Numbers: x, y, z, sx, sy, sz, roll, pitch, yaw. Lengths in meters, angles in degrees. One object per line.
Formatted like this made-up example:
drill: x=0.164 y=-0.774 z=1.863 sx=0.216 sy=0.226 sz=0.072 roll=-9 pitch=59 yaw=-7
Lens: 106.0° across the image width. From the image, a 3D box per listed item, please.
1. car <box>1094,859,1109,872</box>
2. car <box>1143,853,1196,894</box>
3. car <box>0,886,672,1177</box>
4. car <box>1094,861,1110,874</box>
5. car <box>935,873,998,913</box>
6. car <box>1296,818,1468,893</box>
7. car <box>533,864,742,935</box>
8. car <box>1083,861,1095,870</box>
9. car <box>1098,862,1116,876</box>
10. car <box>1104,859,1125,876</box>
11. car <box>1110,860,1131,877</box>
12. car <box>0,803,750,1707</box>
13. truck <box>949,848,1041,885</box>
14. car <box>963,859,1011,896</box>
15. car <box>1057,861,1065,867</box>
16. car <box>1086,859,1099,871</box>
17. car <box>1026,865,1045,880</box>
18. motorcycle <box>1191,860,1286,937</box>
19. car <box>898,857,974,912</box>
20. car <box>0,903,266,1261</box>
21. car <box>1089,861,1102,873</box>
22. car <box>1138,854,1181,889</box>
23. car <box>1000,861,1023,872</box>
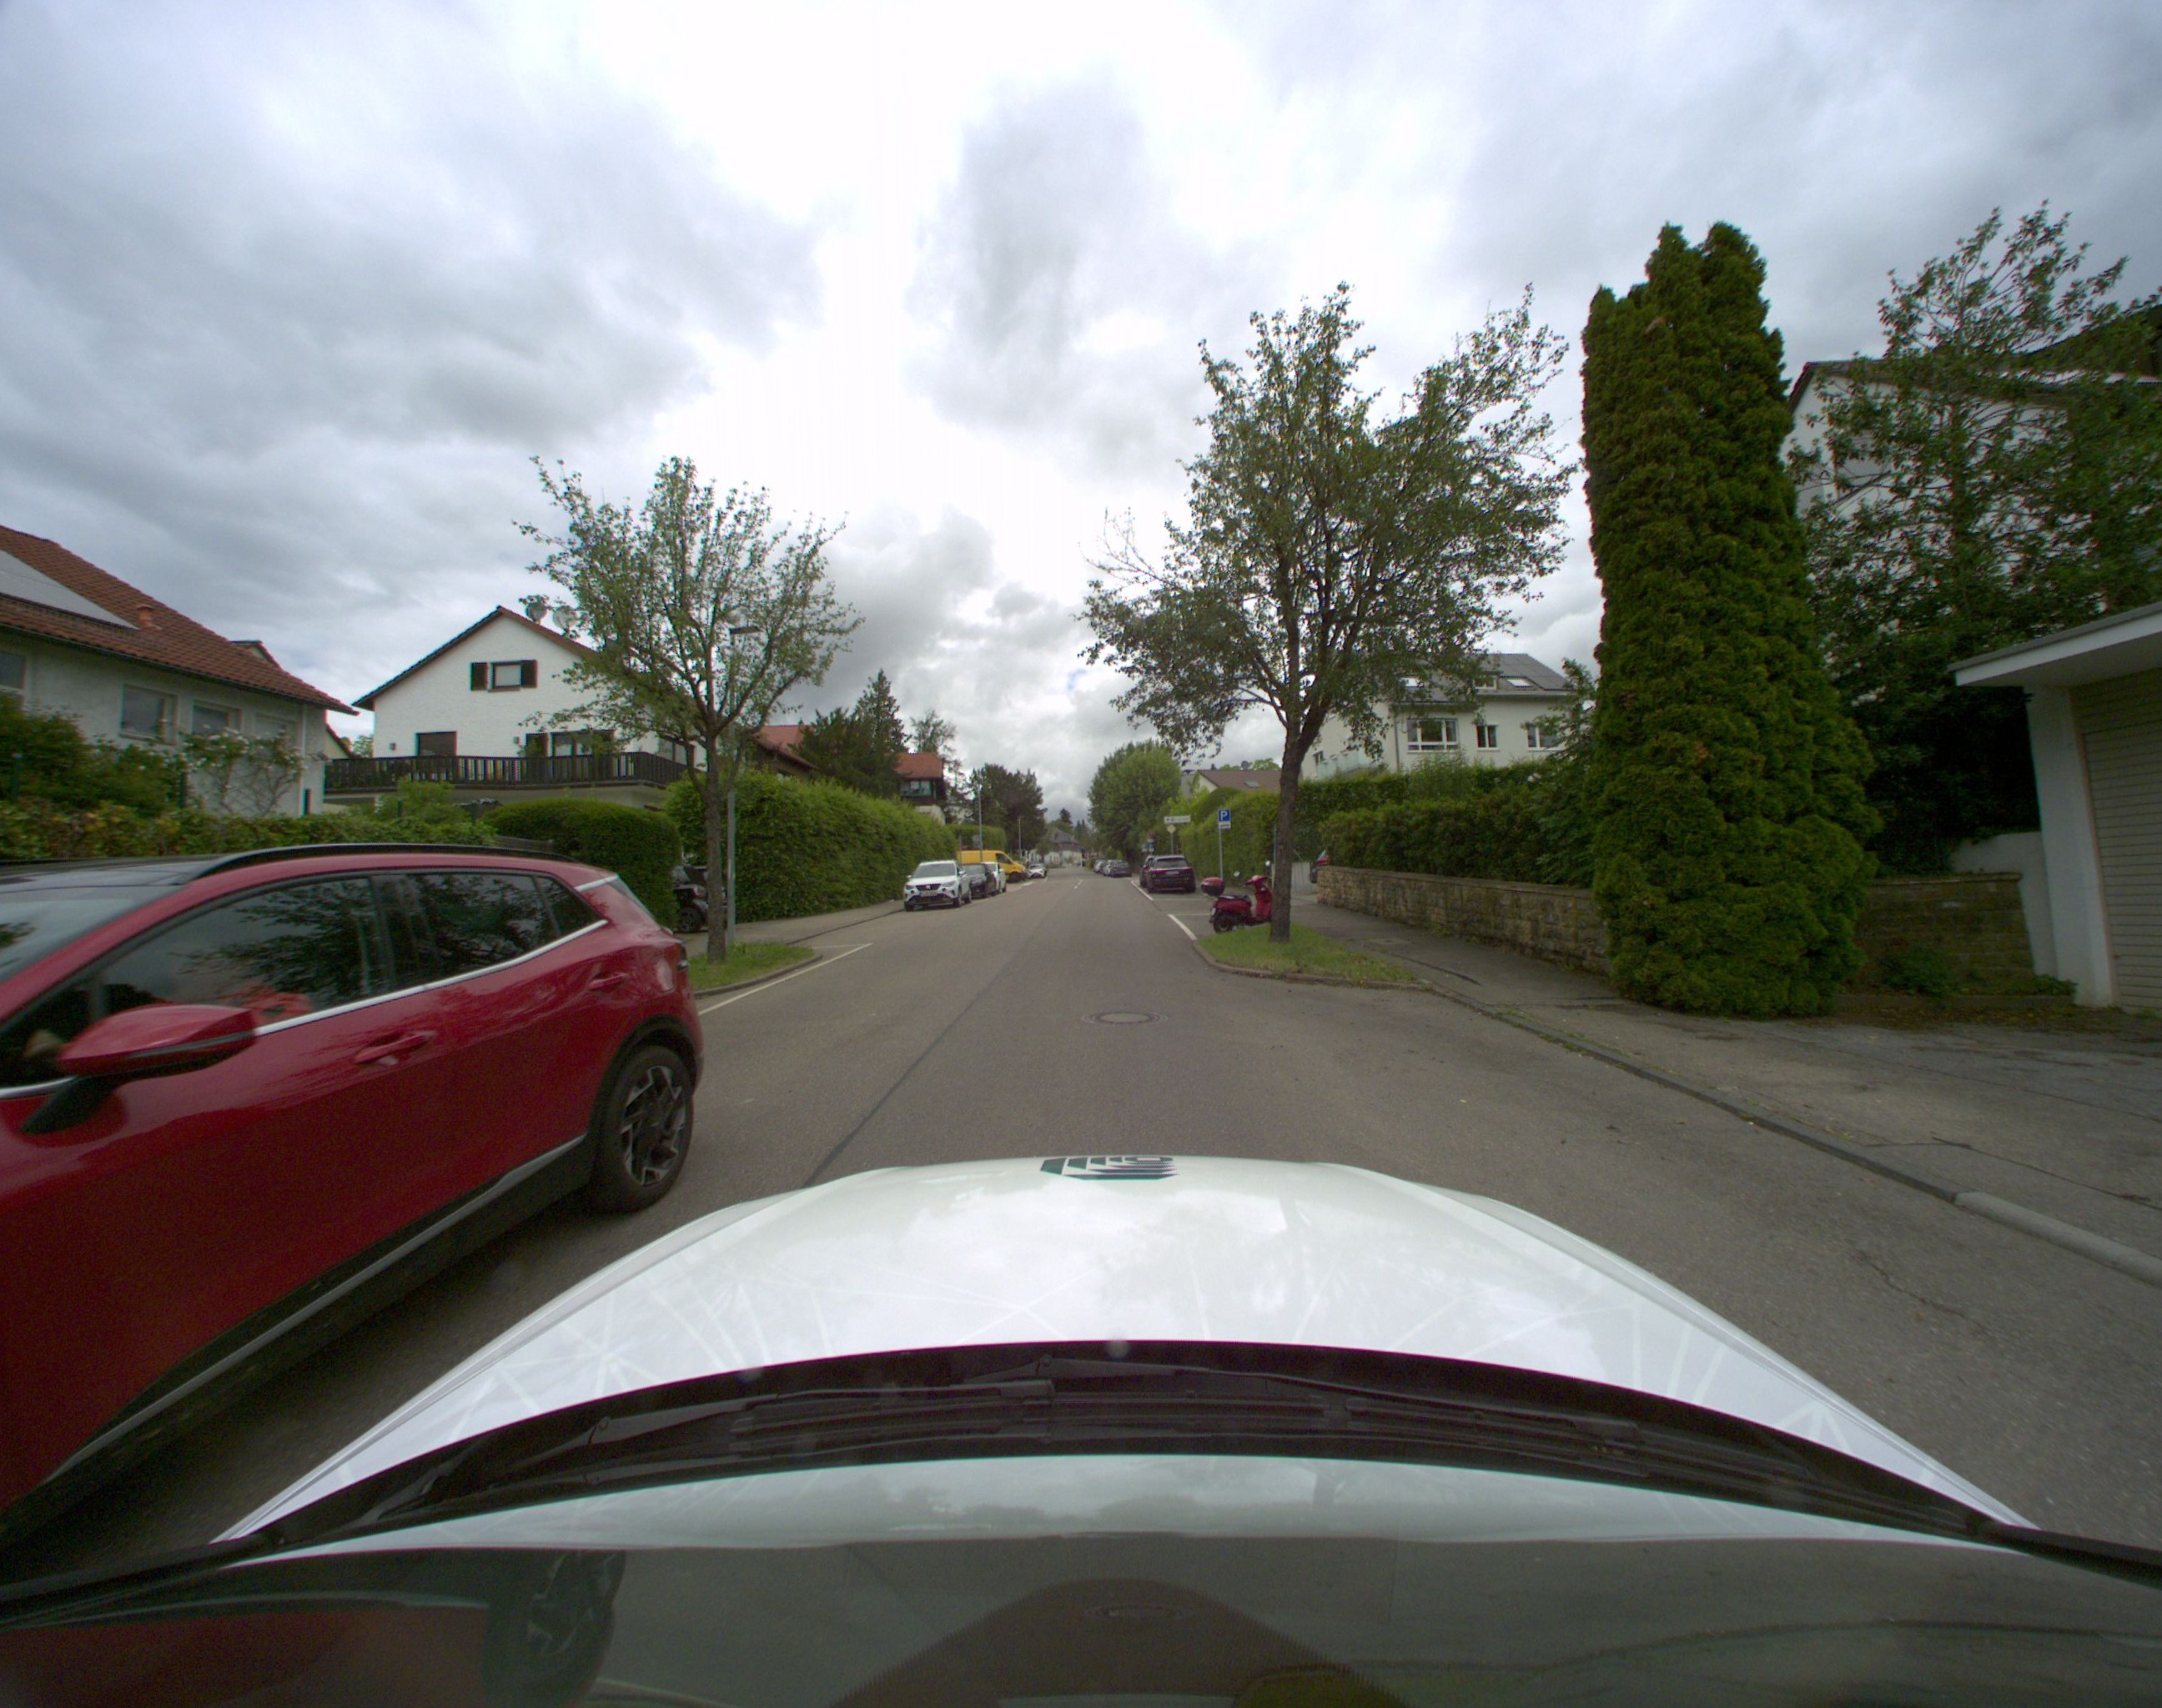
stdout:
car: x=2.696 y=1.494 z=108.733 sx=1.661 sy=1.668 sz=3.464 roll=-2 pitch=0 yaw=-3
car: x=3.584 y=0.759 z=33.527 sx=1.875 sy=1.533 sz=4.478 roll=-1 pitch=0 yaw=2
car: x=-5.308 y=1.084 z=6.615 sx=1.721 sy=1.423 sz=4.081 roll=-3 pitch=-1 yaw=2
car: x=2.606 y=1.695 z=101.439 sx=1.661 sy=1.501 sz=3.464 roll=-2 pitch=0 yaw=-3
car: x=-4.515 y=1.519 z=32.672 sx=1.756 sy=1.388 sz=4.000 roll=-4 pitch=-2 yaw=1
car: x=9.048 y=0.043 z=24.756 sx=4.351 sy=1.468 sz=1.968 roll=-9 pitch=0 yaw=0
car: x=-10.377 y=1.025 z=19.205 sx=3.968 sy=1.533 sz=1.790 roll=0 pitch=0 yaw=5
car: x=1.317 y=1.903 z=131.601 sx=1.640 sy=1.372 sz=3.464 roll=-2 pitch=0 yaw=-3
car: x=2.896 y=1.660 z=90.793 sx=1.661 sy=1.501 sz=3.464 roll=-2 pitch=0 yaw=-3
car: x=3.353 y=1.346 z=81.632 sx=1.709 sy=1.657 sz=3.619 roll=-2 pitch=0 yaw=-3
car: x=3.712 y=1.344 z=76.699 sx=1.661 sy=1.501 sz=3.464 roll=-2 pitch=0 yaw=-3
car: x=-2.927 y=0.797 z=2.421 sx=1.934 sy=1.647 sz=4.259 roll=-4 pitch=0 yaw=2
truck: x=-5.969 y=0.862 z=56.409 sx=5.945 sy=2.309 sz=2.809 roll=-1 pitch=-4 yaw=-16
car: x=-4.302 y=1.044 z=37.708 sx=1.624 sy=1.523 sz=3.639 roll=-4 pitch=0 yaw=1
car: x=-4.906 y=2.495 z=196.998 sx=1.818 sy=1.420 sz=3.996 roll=-2 pitch=0 yaw=-2
car: x=1.710 y=1.676 z=123.536 sx=1.640 sy=1.668 sz=3.464 roll=-2 pitch=0 yaw=-3
car: x=-4.617 y=1.866 z=82.361 sx=1.664 sy=1.399 sz=3.458 roll=-2 pitch=0 yaw=-8
motorcycle: x=3.051 y=0.823 z=15.698 sx=1.876 sy=1.346 sz=0.593 roll=-2 pitch=0 yaw=-35
car: x=-4.636 y=0.939 z=26.566 sx=1.717 sy=1.540 sz=3.998 roll=-3 pitch=0 yaw=-1
car: x=-5.445 y=1.030 z=2.244 sx=1.831 sy=1.422 sz=4.408 roll=-4 pitch=0 yaw=1
car: x=2.050 y=1.799 z=115.074 sx=1.661 sy=1.501 sz=3.464 roll=-2 pitch=0 yaw=-3
car: x=3.749 y=0.807 z=39.515 sx=1.875 sy=1.533 sz=4.478 roll=-1 pitch=0 yaw=2
car: x=-11.470 y=2.073 z=134.322 sx=3.840 sy=1.737 sz=1.638 roll=-2 pitch=0 yaw=-7
